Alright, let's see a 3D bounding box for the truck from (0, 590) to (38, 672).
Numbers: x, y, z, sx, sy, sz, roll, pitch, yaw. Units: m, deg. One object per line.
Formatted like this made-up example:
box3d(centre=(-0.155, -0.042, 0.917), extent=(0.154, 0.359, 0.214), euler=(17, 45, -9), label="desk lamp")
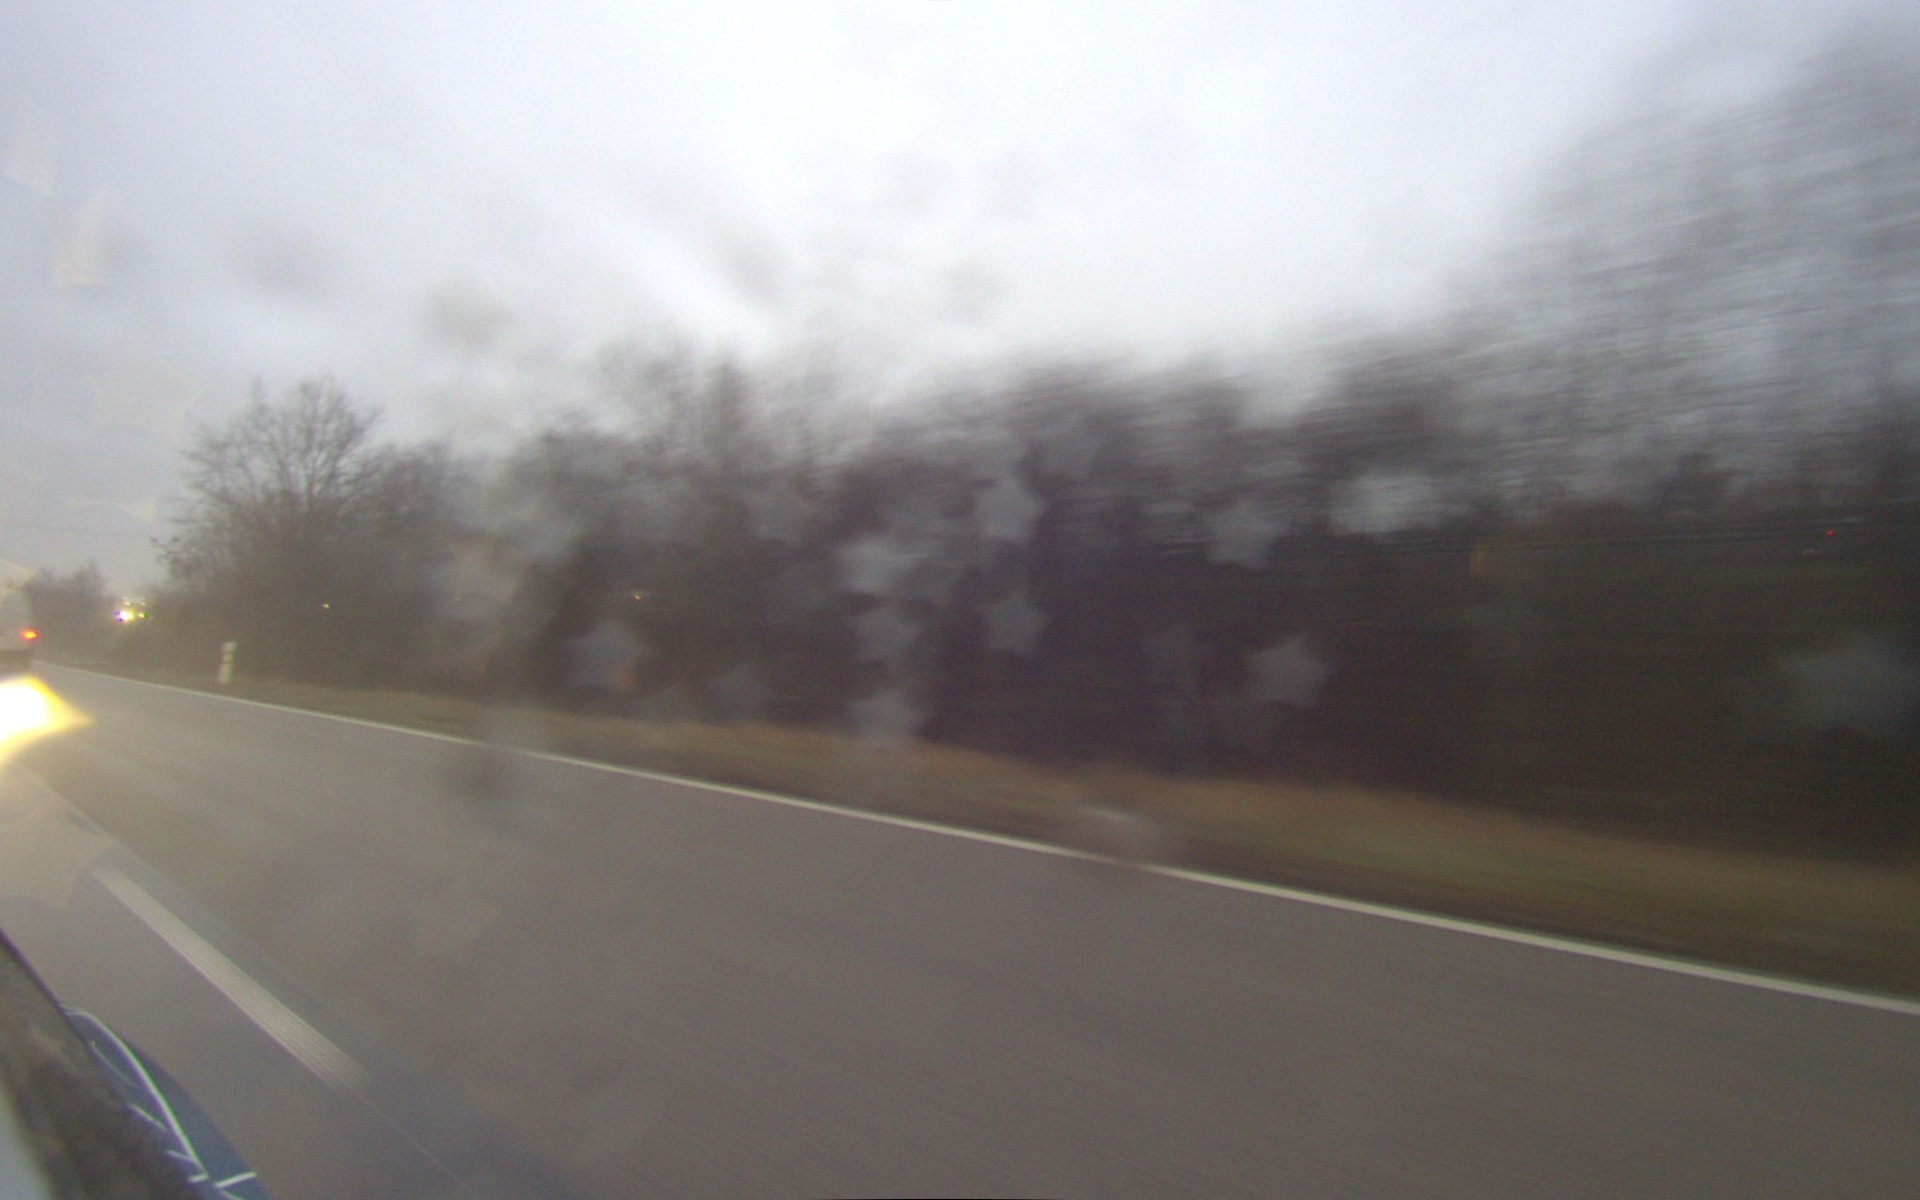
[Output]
box3d(centre=(-31.117, 0.971, 32.091), extent=(5.371, 2.486, 2.215), euler=(-1, 0, 41), label="truck")
